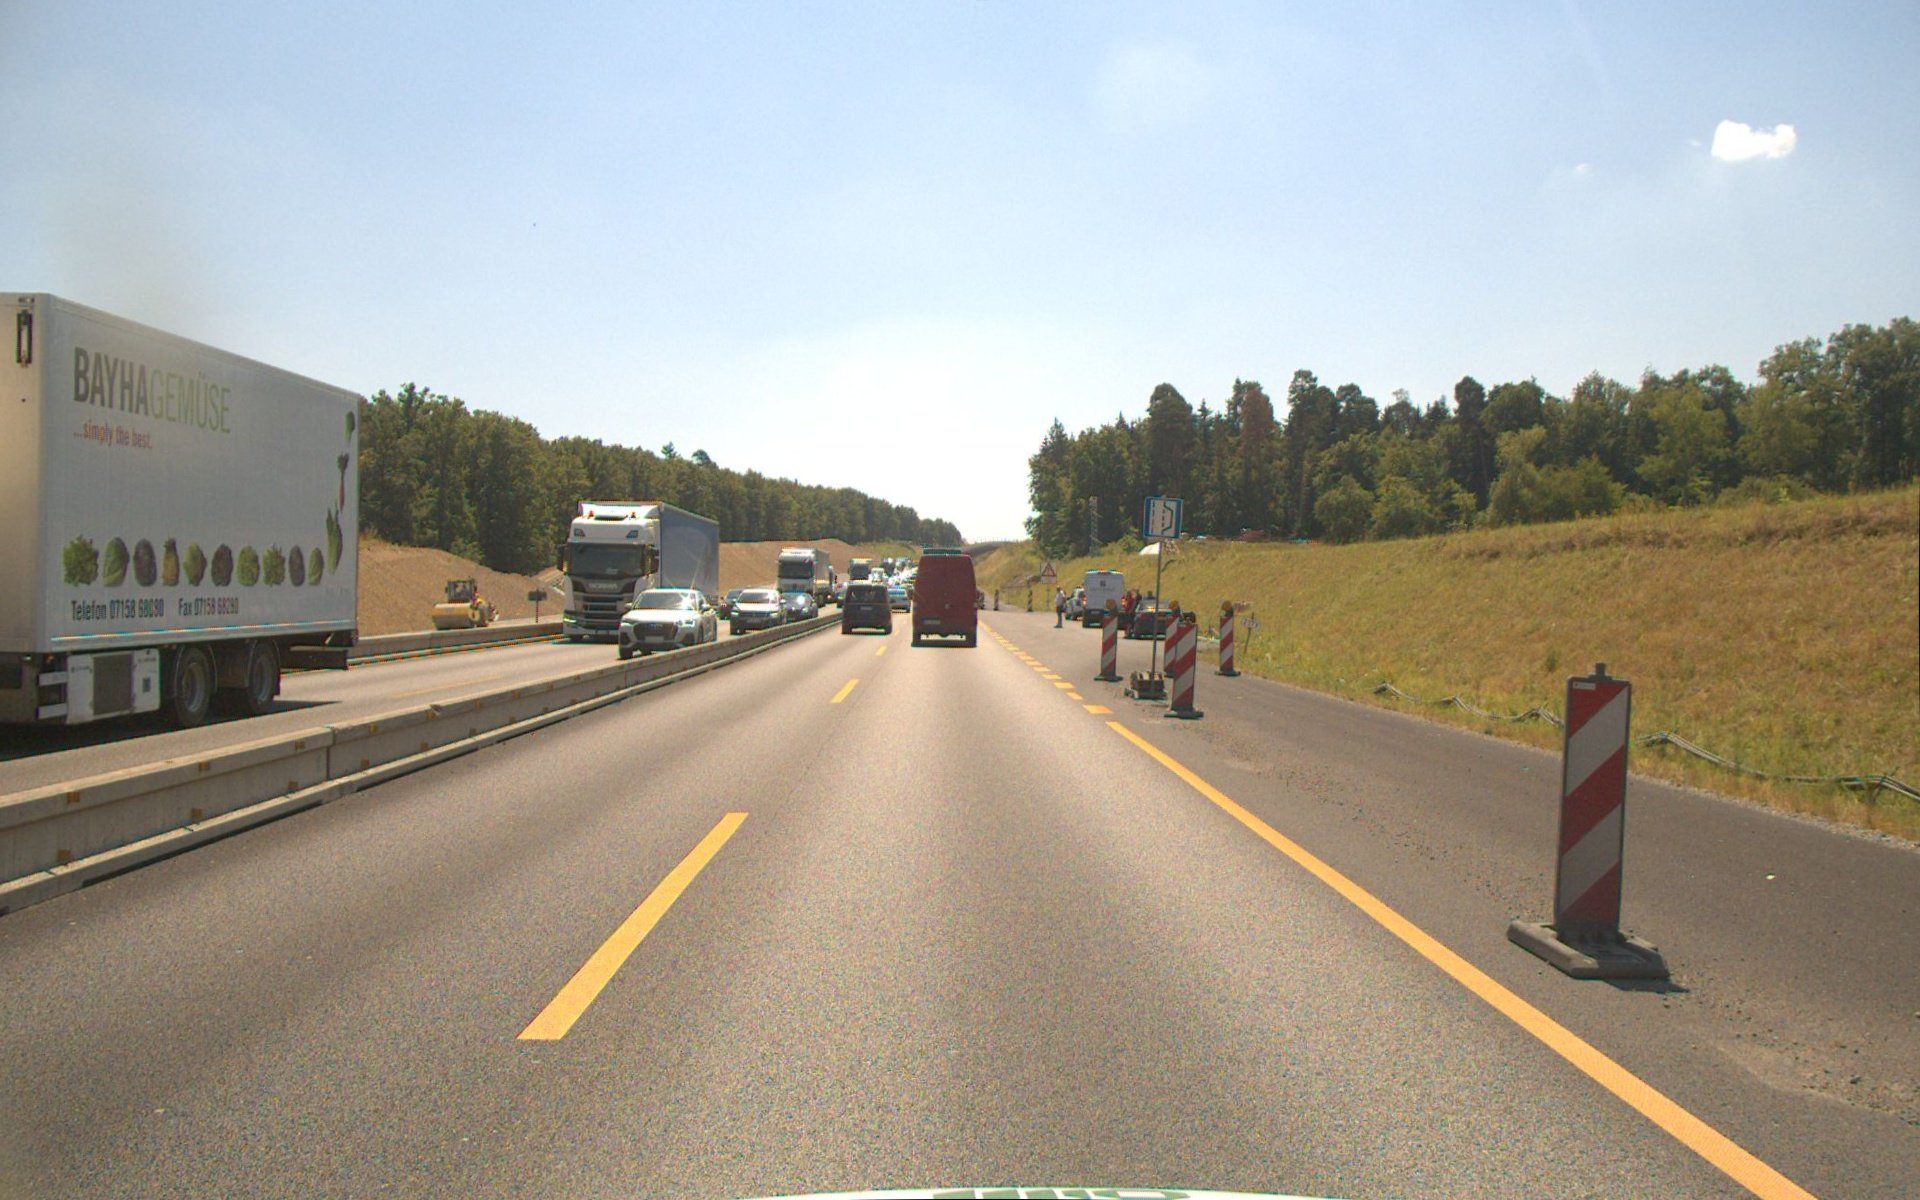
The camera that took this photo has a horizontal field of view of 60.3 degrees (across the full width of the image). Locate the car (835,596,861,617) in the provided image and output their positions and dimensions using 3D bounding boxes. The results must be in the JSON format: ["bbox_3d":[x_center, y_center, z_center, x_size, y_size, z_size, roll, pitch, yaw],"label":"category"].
[{"bbox_3d":[-8.061,0.480,119.476,1.692,1.411,4.482,1,-1,-2],"label":"car"}]

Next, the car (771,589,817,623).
[{"bbox_3d":[-7.345,0.271,73.481,1.694,1.411,4.858,1,-1,-2],"label":"car"}]

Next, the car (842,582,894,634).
[{"bbox_3d":[-3.417,0.276,61.850,1.716,1.856,4.782,1,0,-1],"label":"car"}]

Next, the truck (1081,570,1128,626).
[{"bbox_3d":[6.889,-0.135,78.456,2.085,2.500,5.929,1,1,6],"label":"truck"}]

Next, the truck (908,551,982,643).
[{"bbox_3d":[-0.457,-0.068,50.659,2.109,2.635,5.332,1,-1,0],"label":"truck"}]

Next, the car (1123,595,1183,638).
[{"bbox_3d":[7.008,0.575,60.388,1.620,1.451,4.545,-2,1,0],"label":"car"}]

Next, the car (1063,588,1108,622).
[{"bbox_3d":[6.960,0.258,92.132,1.739,1.706,4.851,2,1,-4],"label":"car"}]

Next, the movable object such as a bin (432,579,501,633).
[{"bbox_3d":[-30.520,0.308,102.545,2.124,3.163,7.164,-2,1,0],"label":"movable object such as a bin"}]

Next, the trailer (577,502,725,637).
[{"bbox_3d":[-10.295,-0.945,56.740,2.599,4.007,13.993,1,0,-1],"label":"trailer"}]

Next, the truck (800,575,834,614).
[{"bbox_3d":[-11.842,-0.433,137.438,2.349,3.112,5.062,1,-1,0],"label":"truck"}]

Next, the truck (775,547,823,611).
[{"bbox_3d":[-10.854,-1.382,111.745,2.712,4.114,4.942,1,-1,0],"label":"truck"}]

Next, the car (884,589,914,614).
[{"bbox_3d":[-3.901,0.116,105.830,1.794,1.549,3.960,1,-1,-1],"label":"car"}]

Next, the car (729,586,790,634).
[{"bbox_3d":[-7.041,0.329,58.482,1.740,1.582,4.138,-1,0,-2],"label":"car"}]

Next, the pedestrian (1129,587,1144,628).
[{"bbox_3d":[7.955,0.350,74.528,0.552,1.827,0.667,1,-1,-3],"label":"pedestrian"}]

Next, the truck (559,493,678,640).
[{"bbox_3d":[-10.139,-0.972,49.552,2.539,4.124,5.148,1,0,-2],"label":"truck"}]

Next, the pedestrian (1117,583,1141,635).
[{"bbox_3d":[6.114,0.310,59.900,0.631,1.860,0.555,1,0,-22],"label":"pedestrian"}]

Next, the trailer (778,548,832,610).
[{"bbox_3d":[-11.005,-1.466,118.527,2.734,4.146,13.708,1,0,-1],"label":"trailer"}]

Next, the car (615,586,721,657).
[{"bbox_3d":[-6.635,0.490,37.965,1.771,1.514,4.241,1,-1,-2],"label":"car"}]

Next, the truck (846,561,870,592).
[{"bbox_3d":[-13.080,-3.029,211.867,2.457,3.680,9.639,1,-1,0],"label":"truck"}]

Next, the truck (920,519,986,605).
[{"bbox_3d":[-0.590,-2.529,119.239,4.311,5.592,16.599,1,-1,-1],"label":"truck"}]

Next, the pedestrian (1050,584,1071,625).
[{"bbox_3d":[4.558,0.209,74.713,0.712,1.860,0.716,1,-1,-18],"label":"pedestrian"}]

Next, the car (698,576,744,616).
[{"bbox_3d":[-11.806,-0.168,82.009,1.682,1.908,3.999,1,-1,-1],"label":"car"}]

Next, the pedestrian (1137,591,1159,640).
[{"bbox_3d":[7.183,0.593,63.240,0.613,1.860,0.640,1,0,-13],"label":"pedestrian"}]

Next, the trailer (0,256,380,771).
[{"bbox_3d":[-9.144,-0.701,14.912,2.451,4.252,15.531,-1,0,-1],"label":"trailer"}]
